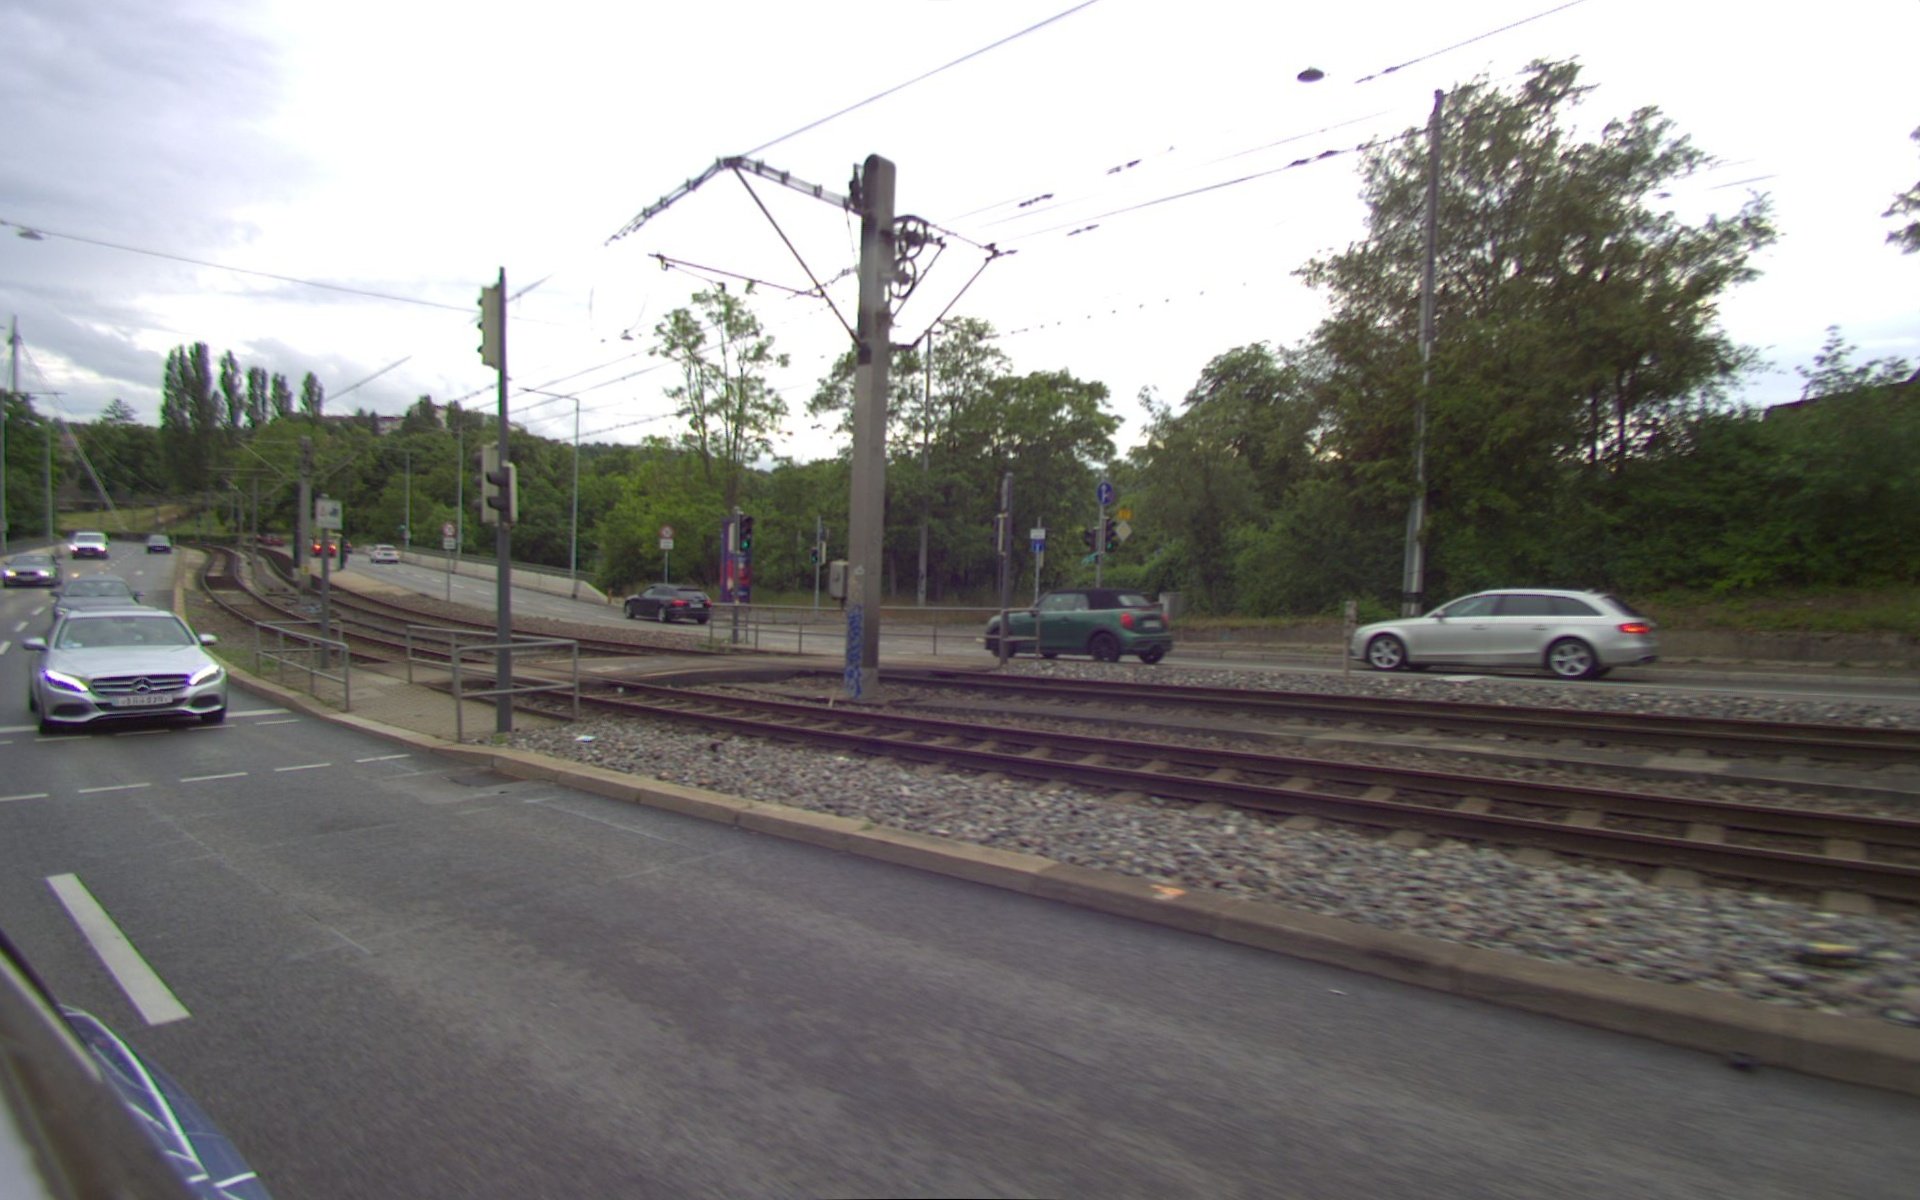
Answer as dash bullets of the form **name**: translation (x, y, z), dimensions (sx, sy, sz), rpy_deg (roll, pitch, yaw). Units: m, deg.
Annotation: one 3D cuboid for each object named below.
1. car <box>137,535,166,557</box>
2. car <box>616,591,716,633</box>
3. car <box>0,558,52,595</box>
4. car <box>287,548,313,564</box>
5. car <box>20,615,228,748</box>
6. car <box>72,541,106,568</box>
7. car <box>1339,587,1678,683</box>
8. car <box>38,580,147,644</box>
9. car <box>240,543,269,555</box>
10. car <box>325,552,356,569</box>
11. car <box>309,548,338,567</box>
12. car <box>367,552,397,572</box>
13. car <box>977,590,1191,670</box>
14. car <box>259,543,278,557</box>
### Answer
- **car**: translation (-70.009, -4.633, 87.628), dimensions (1.742, 1.830, 4.005), rpy_deg (-2, 2, -42)
- **car**: translation (-11.020, 0.393, 37.773), dimensions (4.276, 1.469, 1.697), rpy_deg (1, 1, 43)
- **car**: translation (-40.203, -1.028, 43.408), dimensions (1.742, 1.512, 4.006), rpy_deg (-1, 2, -41)
- **car**: translation (-67.908, -4.527, 104.085), dimensions (1.708, 1.447, 4.500), rpy_deg (1, 3, -41)
- **car**: translation (-11.015, 0.928, 13.234), dimensions (1.845, 1.366, 4.064), rpy_deg (0, 0, -43)
- **car**: translation (-62.664, -3.289, 72.794), dimensions (1.742, 1.830, 4.006), rpy_deg (-2, 5, -42)
- **car**: translation (9.014, 0.540, 16.924), dimensions (4.705, 1.390, 1.799), rpy_deg (-1, -1, 43)
- **car**: translation (-22.959, 0.260, 26.739), dimensions (4.000, 1.362, 1.713), rpy_deg (5, 4, 42)
- **car**: translation (-95.258, -6.861, 136.594), dimensions (4.732, 1.447, 1.800), rpy_deg (3, 3, 36)
- **car**: translation (-66.157, -4.239, 108.034), dimensions (1.944, 1.609, 5.193), rpy_deg (1, 2, -41)
- **car**: translation (-58.848, -3.942, 93.531), dimensions (1.823, 1.609, 4.744), rpy_deg (1, 2, -36)
- **car**: translation (-49.148, -3.219, 86.032), dimensions (1.797, 1.526, 4.541), rpy_deg (0, 4, -36)
- **car**: translation (2.312, 0.538, 19.488), dimensions (3.895, 1.395, 1.615), rpy_deg (0, -1, 43)
- **car**: translation (-82.590, -5.951, 120.891), dimensions (1.581, 1.504, 3.023), rpy_deg (1, 4, -41)
